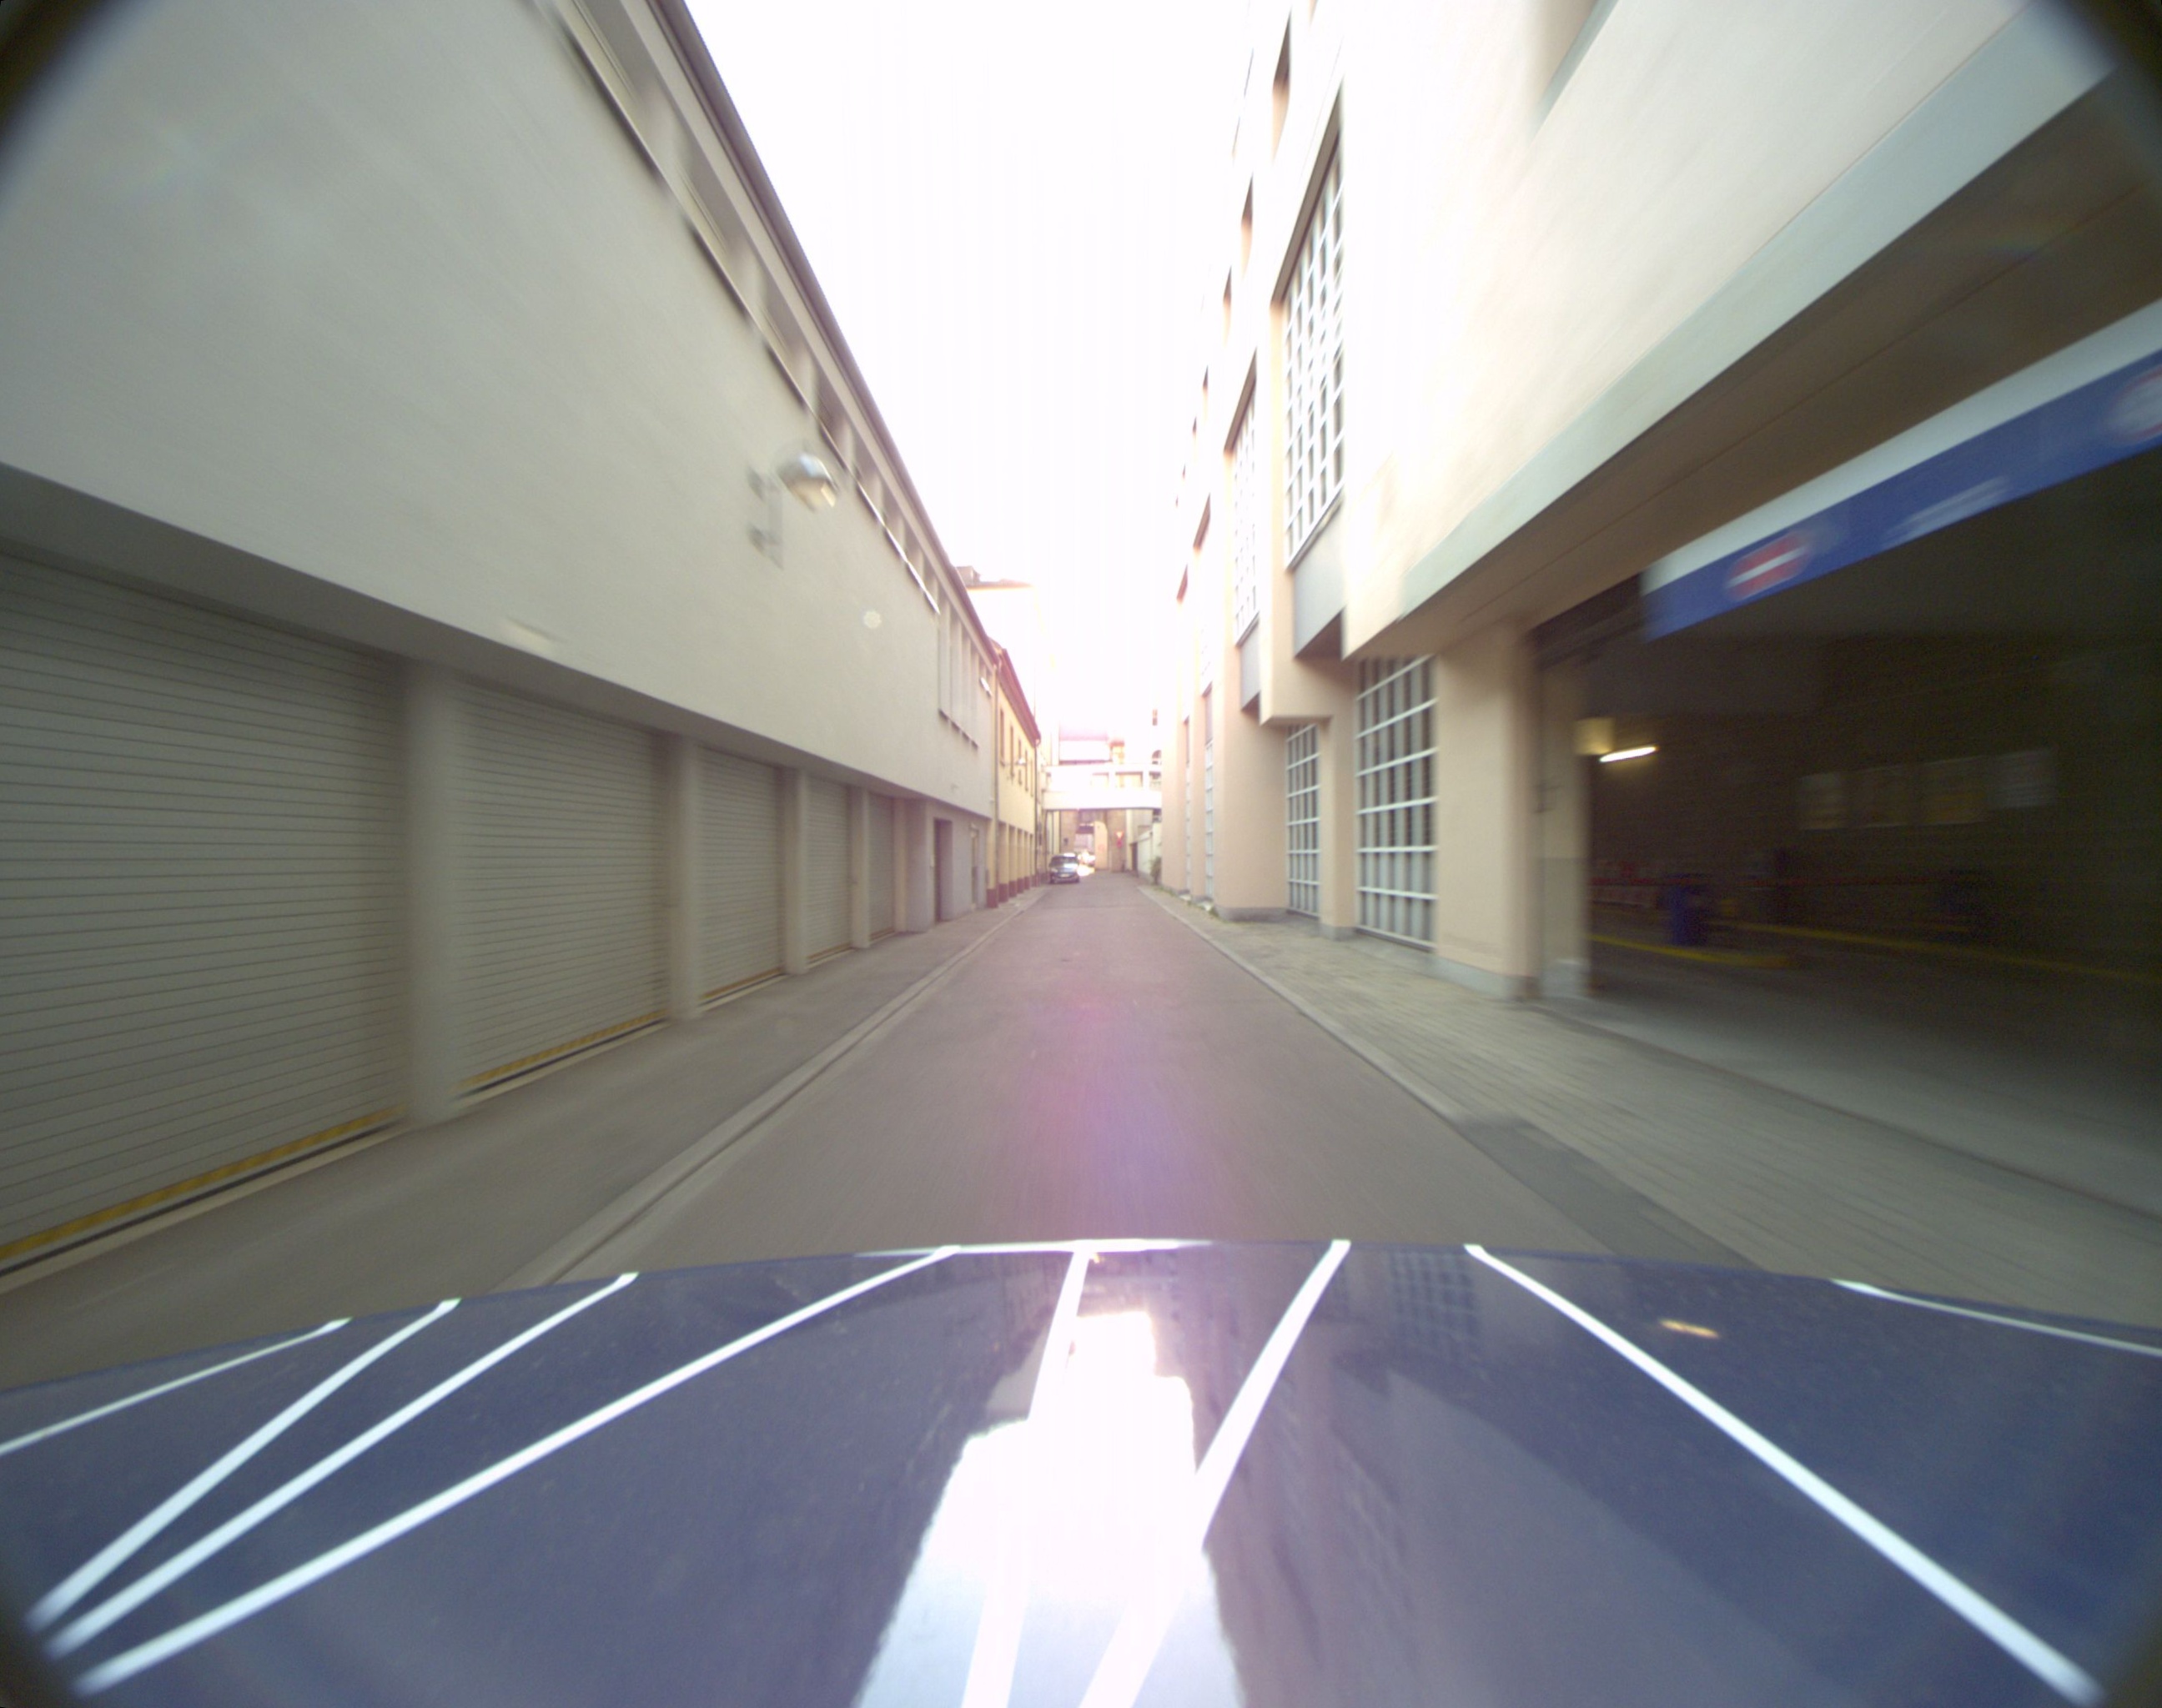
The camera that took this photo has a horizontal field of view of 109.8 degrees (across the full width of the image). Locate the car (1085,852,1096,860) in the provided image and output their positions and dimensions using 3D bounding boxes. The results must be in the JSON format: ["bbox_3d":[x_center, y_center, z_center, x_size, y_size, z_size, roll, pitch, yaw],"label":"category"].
[{"bbox_3d":[1.645,0.338,130.284,1.805,1.415,3.755,-2,0,-1],"label":"car"}]

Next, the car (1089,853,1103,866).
[{"bbox_3d":[2.199,0.802,111.357,1.998,1.805,4.000,-2,0,0],"label":"car"}]

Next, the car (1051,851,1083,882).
[{"bbox_3d":[-0.821,0.710,46.467,1.764,1.756,4.750,-2,0,0],"label":"car"}]
